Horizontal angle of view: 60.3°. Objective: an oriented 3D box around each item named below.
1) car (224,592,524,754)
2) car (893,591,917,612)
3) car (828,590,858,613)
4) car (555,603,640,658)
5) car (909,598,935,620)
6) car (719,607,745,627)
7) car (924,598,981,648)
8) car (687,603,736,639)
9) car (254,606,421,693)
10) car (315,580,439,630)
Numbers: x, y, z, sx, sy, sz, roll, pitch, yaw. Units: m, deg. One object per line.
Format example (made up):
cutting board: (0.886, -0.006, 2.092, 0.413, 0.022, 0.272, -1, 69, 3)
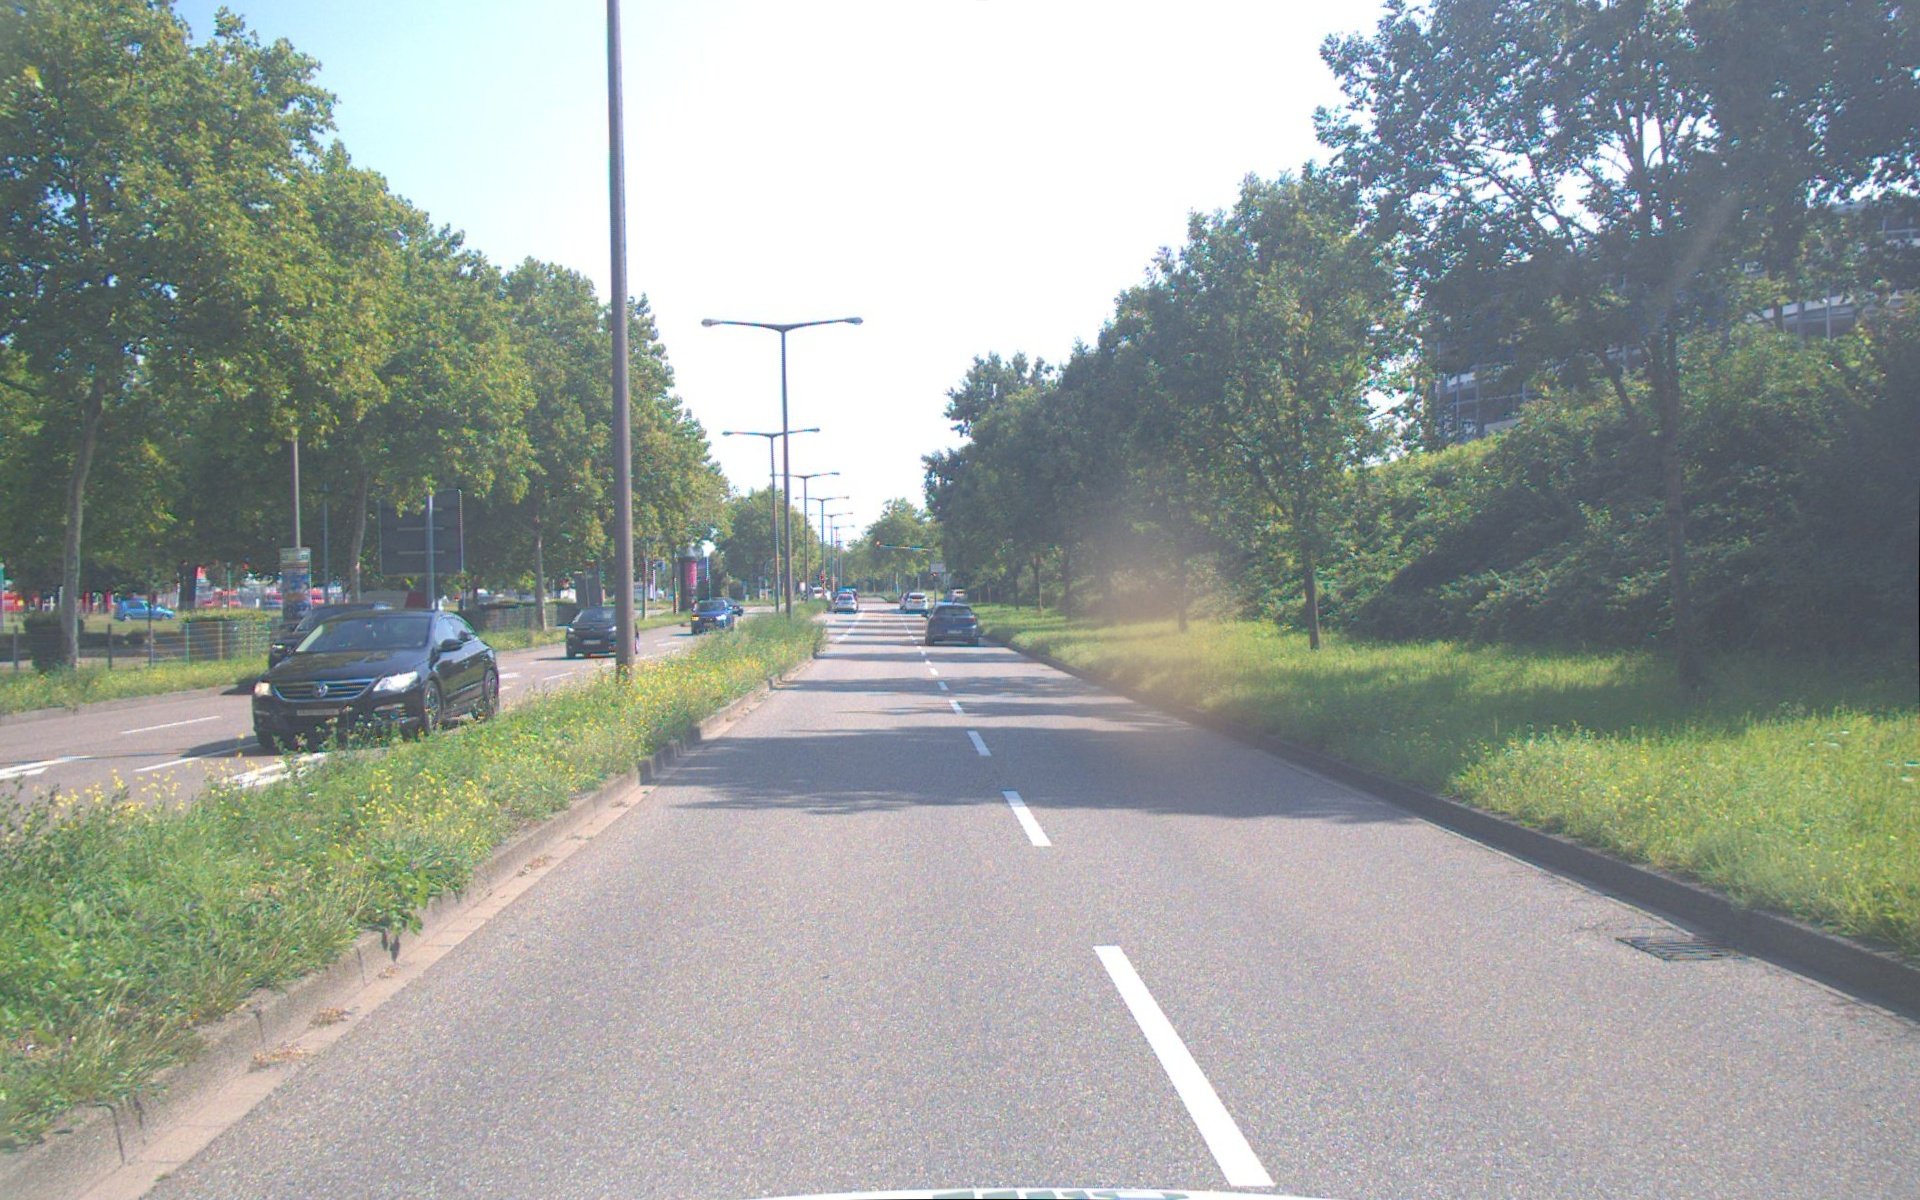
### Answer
car: (-6.384, 0.712, 18.632, 1.808, 1.516, 4.641, -3, 0, -2)
car: (-4.992, 0.155, 150.520, 1.955, 1.683, 3.997, 2, 1, -5)
car: (-9.050, 0.132, 128.304, 1.953, 1.731, 4.000, -2, 0, 0)
car: (-10.730, 0.863, 49.215, 1.671, 1.516, 4.310, -1, 0, -2)
car: (-3.035, 0.717, 131.092, 1.954, 1.683, 3.997, -2, 0, -3)
car: (-17.949, 1.325, 130.494, 1.760, 1.441, 4.405, -3, 0, -5)
car: (-0.288, 0.742, 56.486, 1.745, 1.452, 3.999, 1, 3, -3)
car: (-11.922, 0.995, 79.612, 1.955, 1.612, 4.342, -2, 0, -5)
car: (-12.448, 0.955, 33.388, 1.808, 1.633, 4.608, 0, -1, -2)
car: (-29.346, 0.252, 83.418, 5.474, 2.377, 2.277, 1, 2, -5)
